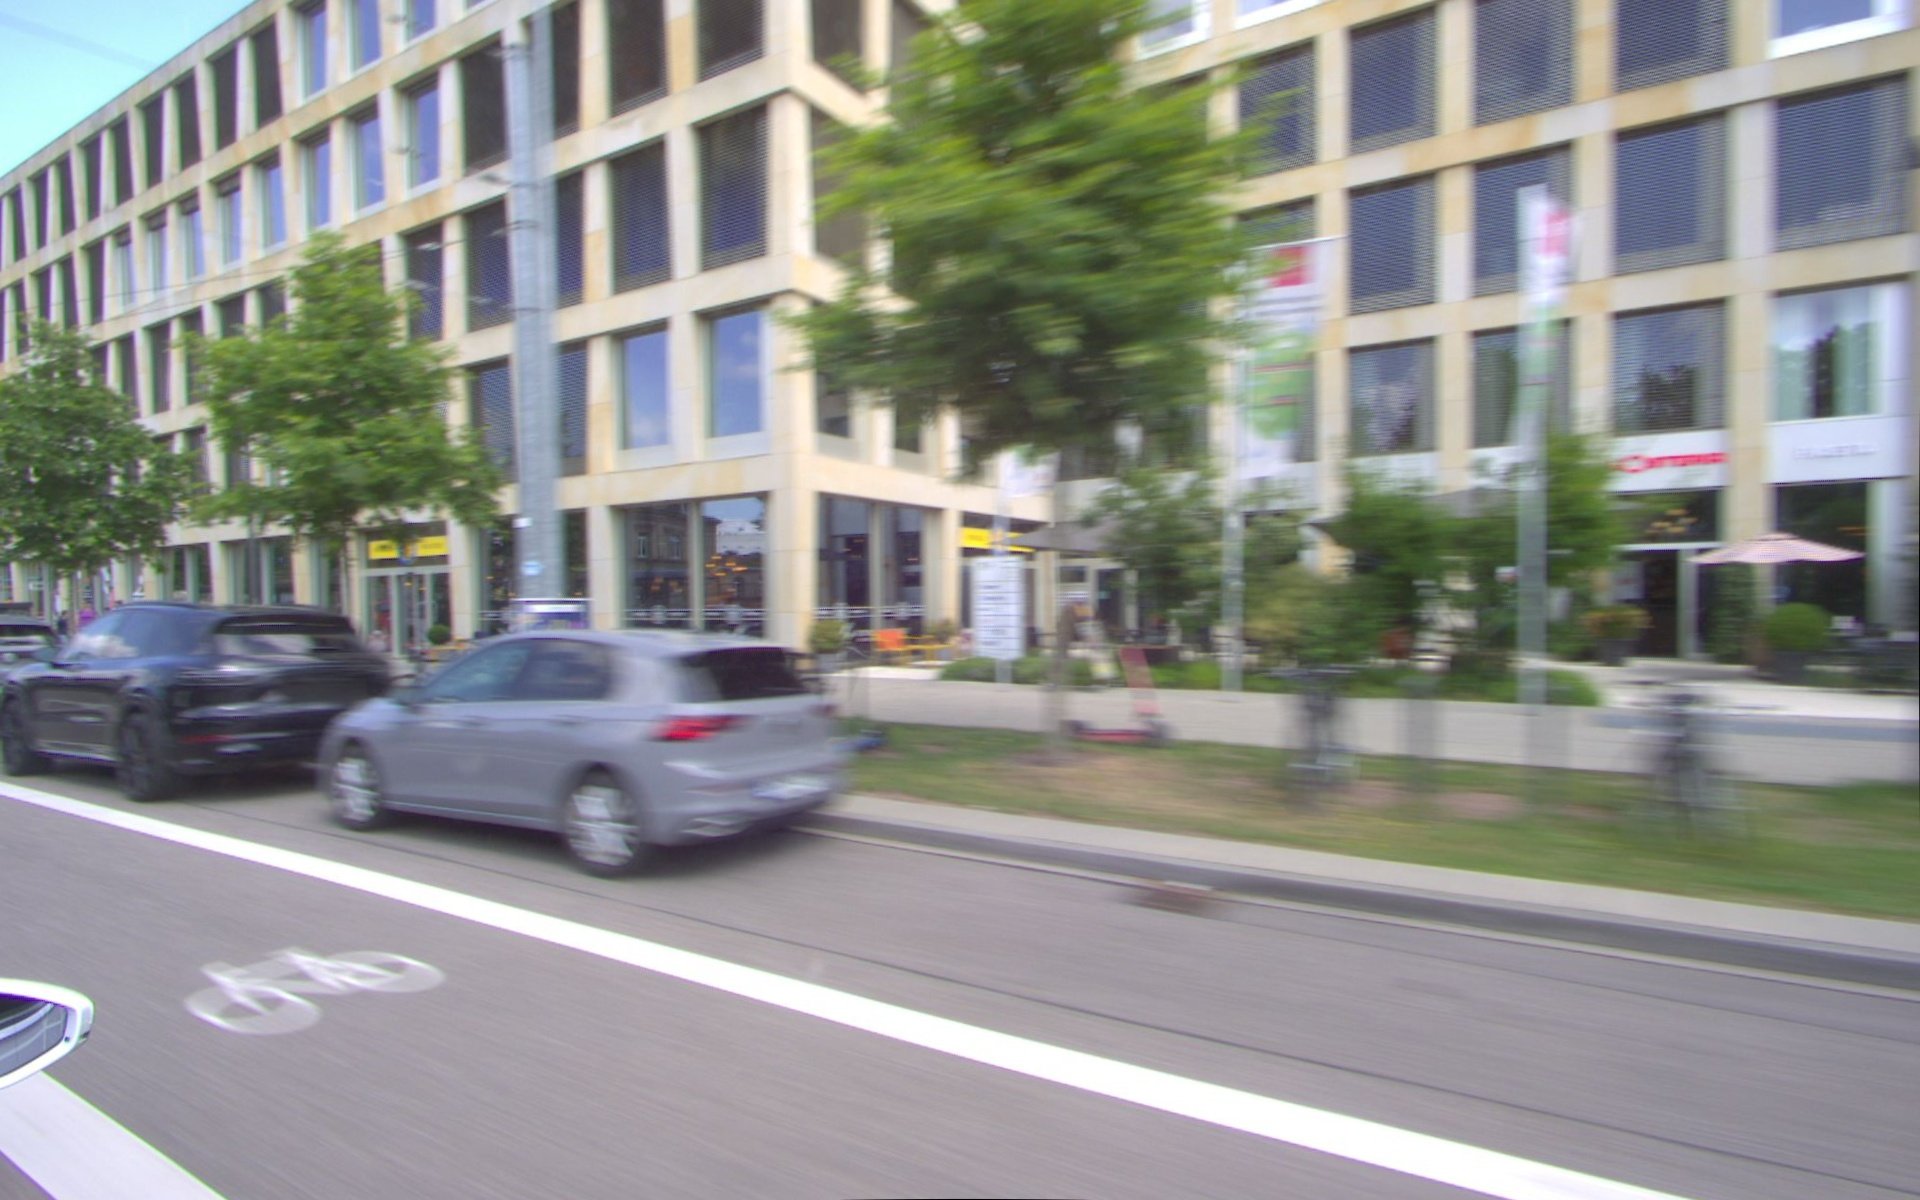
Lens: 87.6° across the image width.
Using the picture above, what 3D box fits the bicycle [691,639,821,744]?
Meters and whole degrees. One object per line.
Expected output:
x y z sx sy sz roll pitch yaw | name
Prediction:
-2.258 0.991 11.312 0.321 0.999 1.749 0 1 31 | bicycle

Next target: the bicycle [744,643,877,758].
-1.513 0.997 10.434 0.321 0.999 1.749 0 1 31 | bicycle

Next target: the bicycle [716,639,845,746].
-1.954 0.988 11.163 0.321 0.999 1.749 0 1 31 | bicycle

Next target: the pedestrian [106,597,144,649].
-27.406 0.746 32.875 0.649 1.693 0.758 0 1 31 | pedestrian

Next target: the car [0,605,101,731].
-14.286 0.872 14.154 4.768 1.612 1.805 0 -1 31 | car

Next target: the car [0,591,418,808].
-7.524 0.795 9.757 4.768 1.691 1.736 0 -1 31 | car

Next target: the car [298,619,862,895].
-2.806 0.892 7.148 4.046 1.453 1.589 0 -1 31 | car

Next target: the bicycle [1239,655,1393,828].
2.848 1.034 7.895 0.677 1.090 1.817 0 1 36 | bicycle

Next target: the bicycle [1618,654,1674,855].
4.654 0.965 6.766 0.271 1.090 1.817 0 1 35 | bicycle

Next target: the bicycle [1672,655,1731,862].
4.875 0.963 6.613 0.271 1.090 1.817 0 1 35 | bicycle

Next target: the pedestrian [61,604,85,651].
-28.008 0.857 31.624 0.427 1.468 0.438 0 1 31 | pedestrian

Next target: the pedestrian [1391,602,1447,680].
8.488 0.738 18.512 0.855 1.381 0.773 0 3 32 | pedestrian

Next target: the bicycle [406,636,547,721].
-6.805 1.078 14.187 0.426 1.044 1.818 0 1 35 | bicycle

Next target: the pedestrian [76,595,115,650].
-27.800 0.721 32.216 0.649 1.747 0.758 0 1 31 | pedestrian

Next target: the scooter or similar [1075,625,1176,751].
1.695 0.885 10.308 1.000 1.232 0.258 0 1 32 | scooter or similar

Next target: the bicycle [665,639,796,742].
-2.584 0.994 11.459 0.321 0.999 1.749 0 1 31 | bicycle

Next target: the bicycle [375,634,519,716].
-7.483 1.062 14.693 0.576 1.044 1.818 0 1 35 | bicycle
